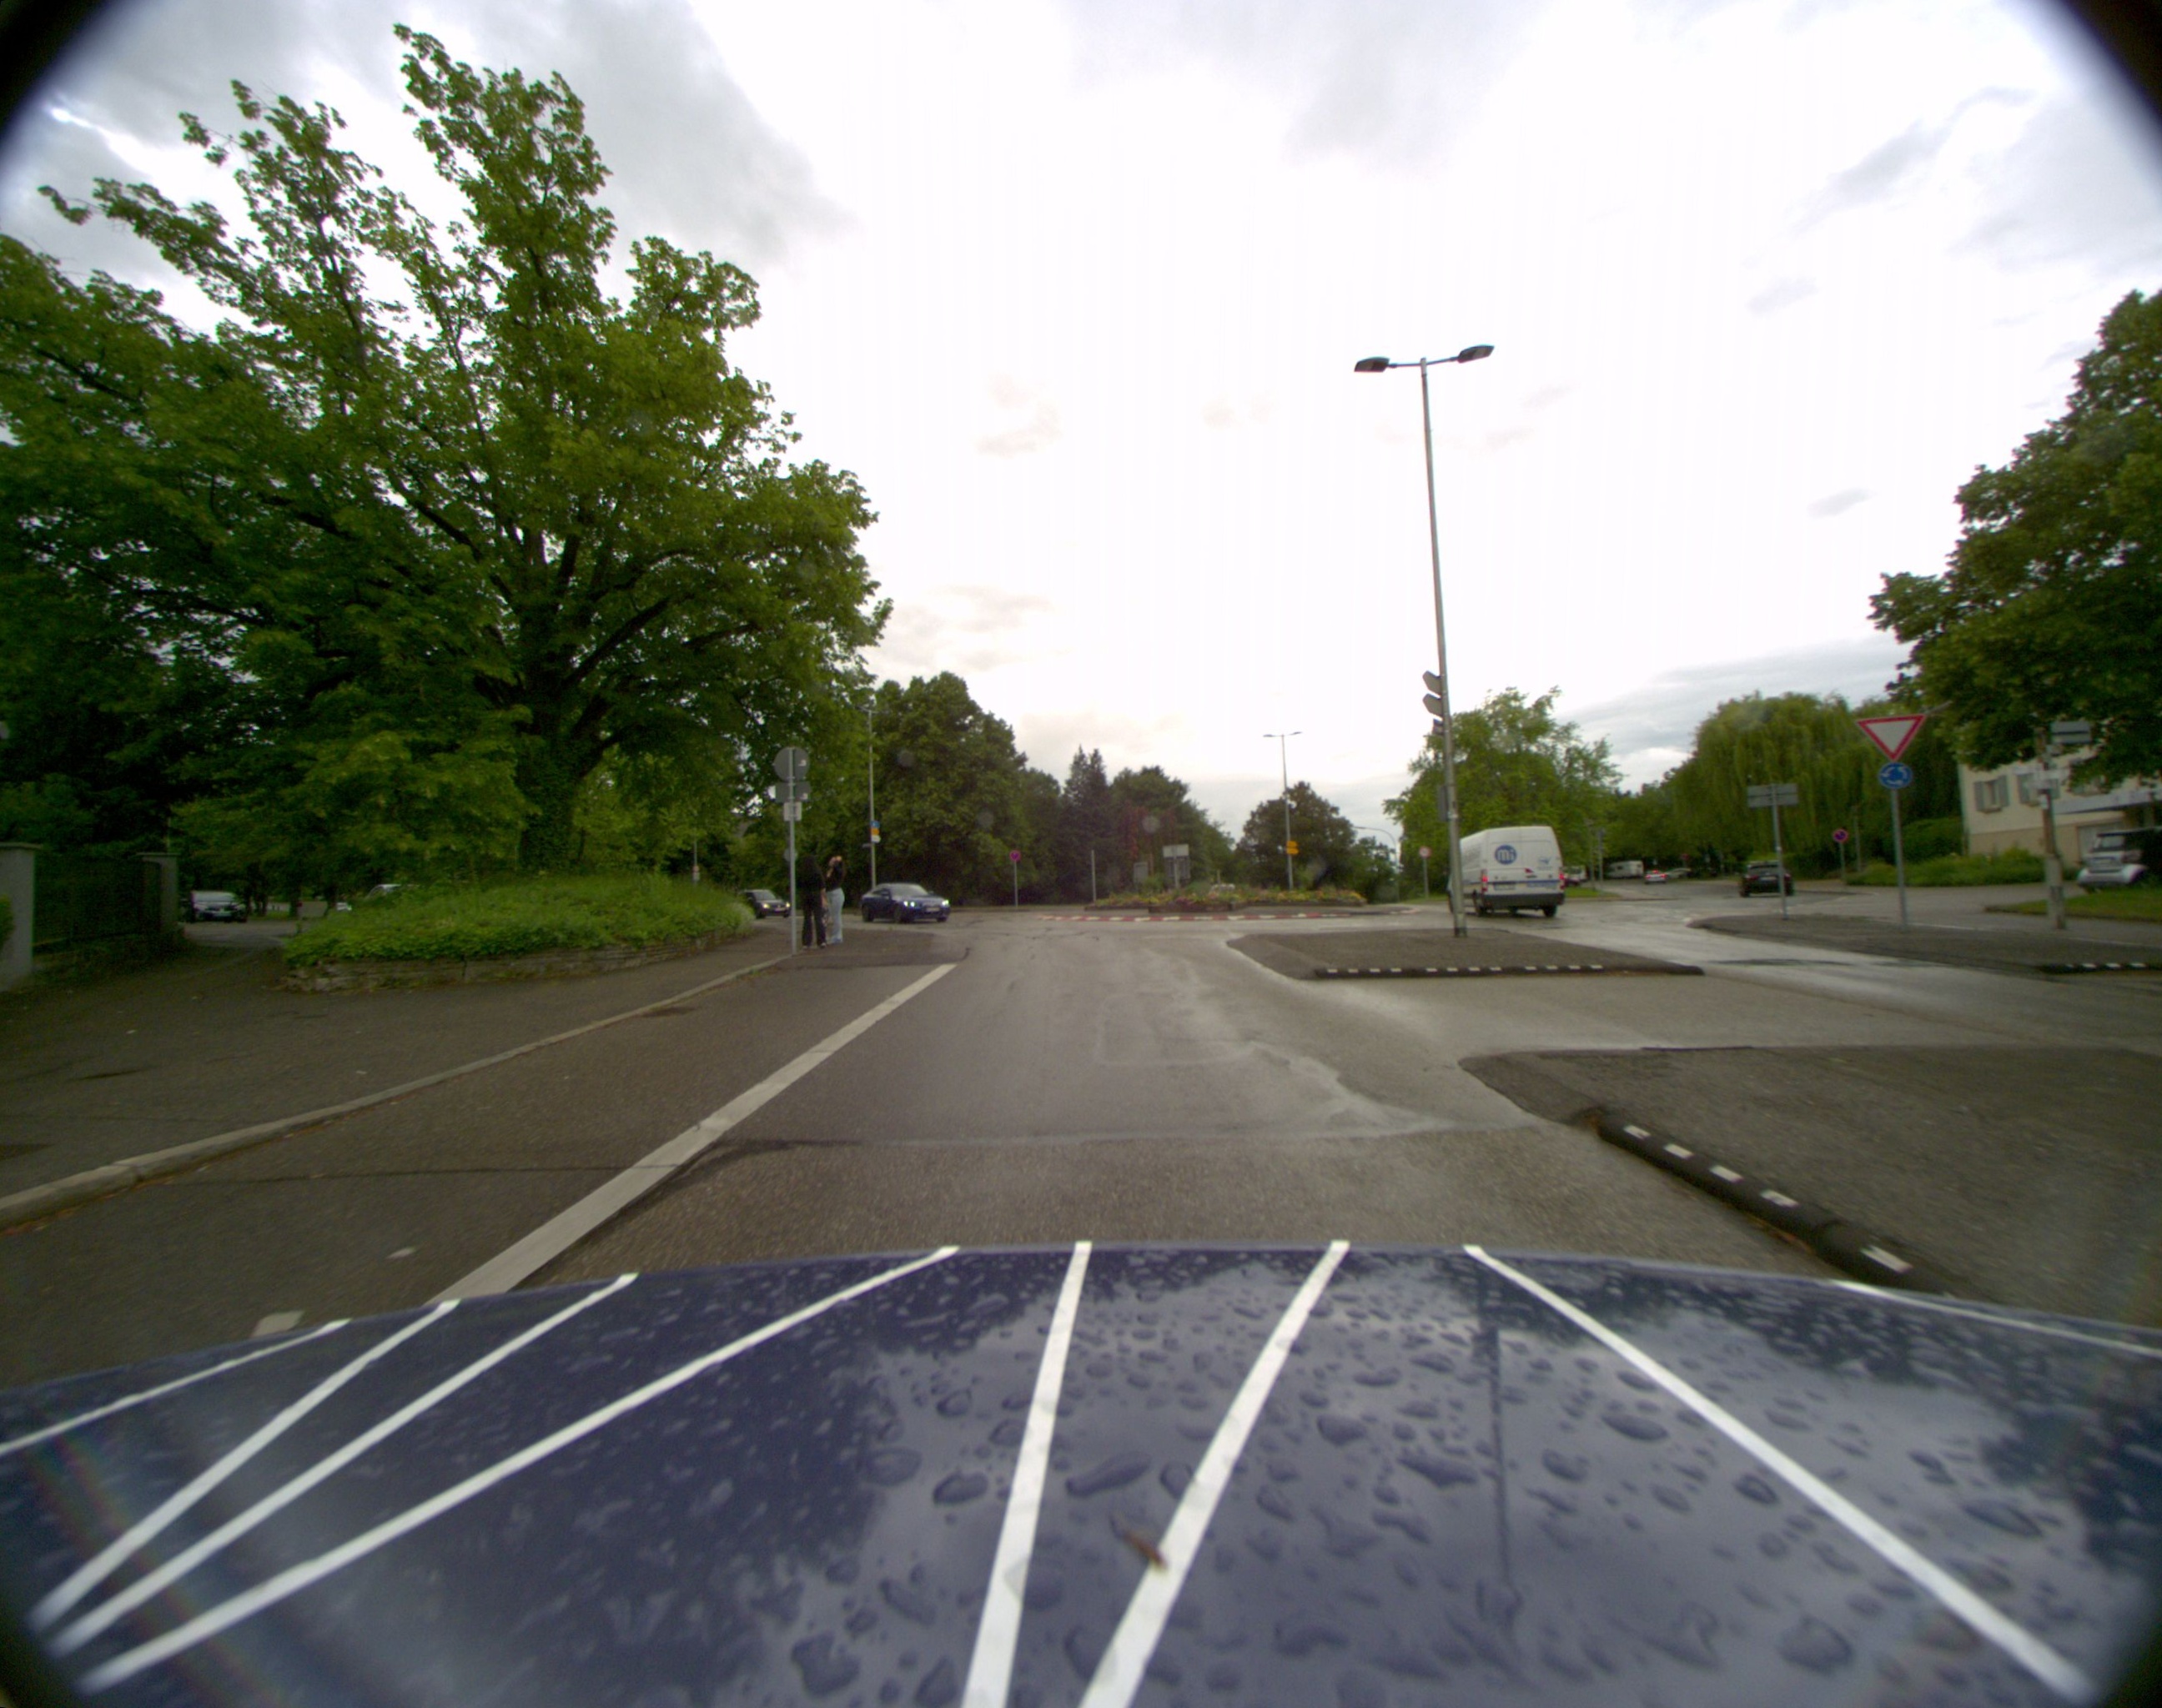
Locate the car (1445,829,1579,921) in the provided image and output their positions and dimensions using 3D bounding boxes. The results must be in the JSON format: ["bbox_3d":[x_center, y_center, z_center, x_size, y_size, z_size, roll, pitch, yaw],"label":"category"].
[{"bbox_3d":[12.605,0.673,22.686,2.170,2.400,5.405,-1,-2,15],"label":"car"}]

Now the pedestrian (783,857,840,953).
[{"bbox_3d":[-4.971,0.919,14.054,0.725,1.722,0.819,-1,0,0],"label":"pedestrian"}]

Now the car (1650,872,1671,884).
[{"bbox_3d":[62.469,2.574,81.856,1.556,1.303,3.866,-1,-1,40],"label":"car"}]

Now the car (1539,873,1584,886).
[{"bbox_3d":[49.589,2.628,78.444,3.846,1.302,1.564,-1,-4,37],"label":"car"}]

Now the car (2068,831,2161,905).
[{"bbox_3d":[23.643,0.274,16.135,2.816,1.532,1.701,-1,0,28],"label":"car"}]

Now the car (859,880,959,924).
[{"bbox_3d":[-6.433,1.737,27.969,1.766,1.428,4.660,-1,-2,-38],"label":"car"}]

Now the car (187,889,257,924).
[{"bbox_3d":[-38.764,2.352,34.366,4.374,1.406,1.867,-3,-2,44],"label":"car"}]

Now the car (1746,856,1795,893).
[{"bbox_3d":[33.460,0.963,36.938,1.693,1.605,4.347,0,1,41],"label":"car"}]

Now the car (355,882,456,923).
[{"bbox_3d":[-26.103,1.874,29.324,4.374,1.406,1.867,-3,-2,34],"label":"car"}]

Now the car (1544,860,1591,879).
[{"bbox_3d":[62.152,2.044,97.138,4.903,2.286,1.796,-1,-4,37],"label":"car"}]

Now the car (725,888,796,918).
[{"bbox_3d":[-16.749,2.512,39.604,4.374,1.406,1.867,-3,-2,44],"label":"car"}]

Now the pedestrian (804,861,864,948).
[{"bbox_3d":[-4.863,0.970,14.955,0.723,1.645,0.821,-1,0,38],"label":"pedestrian"}]
